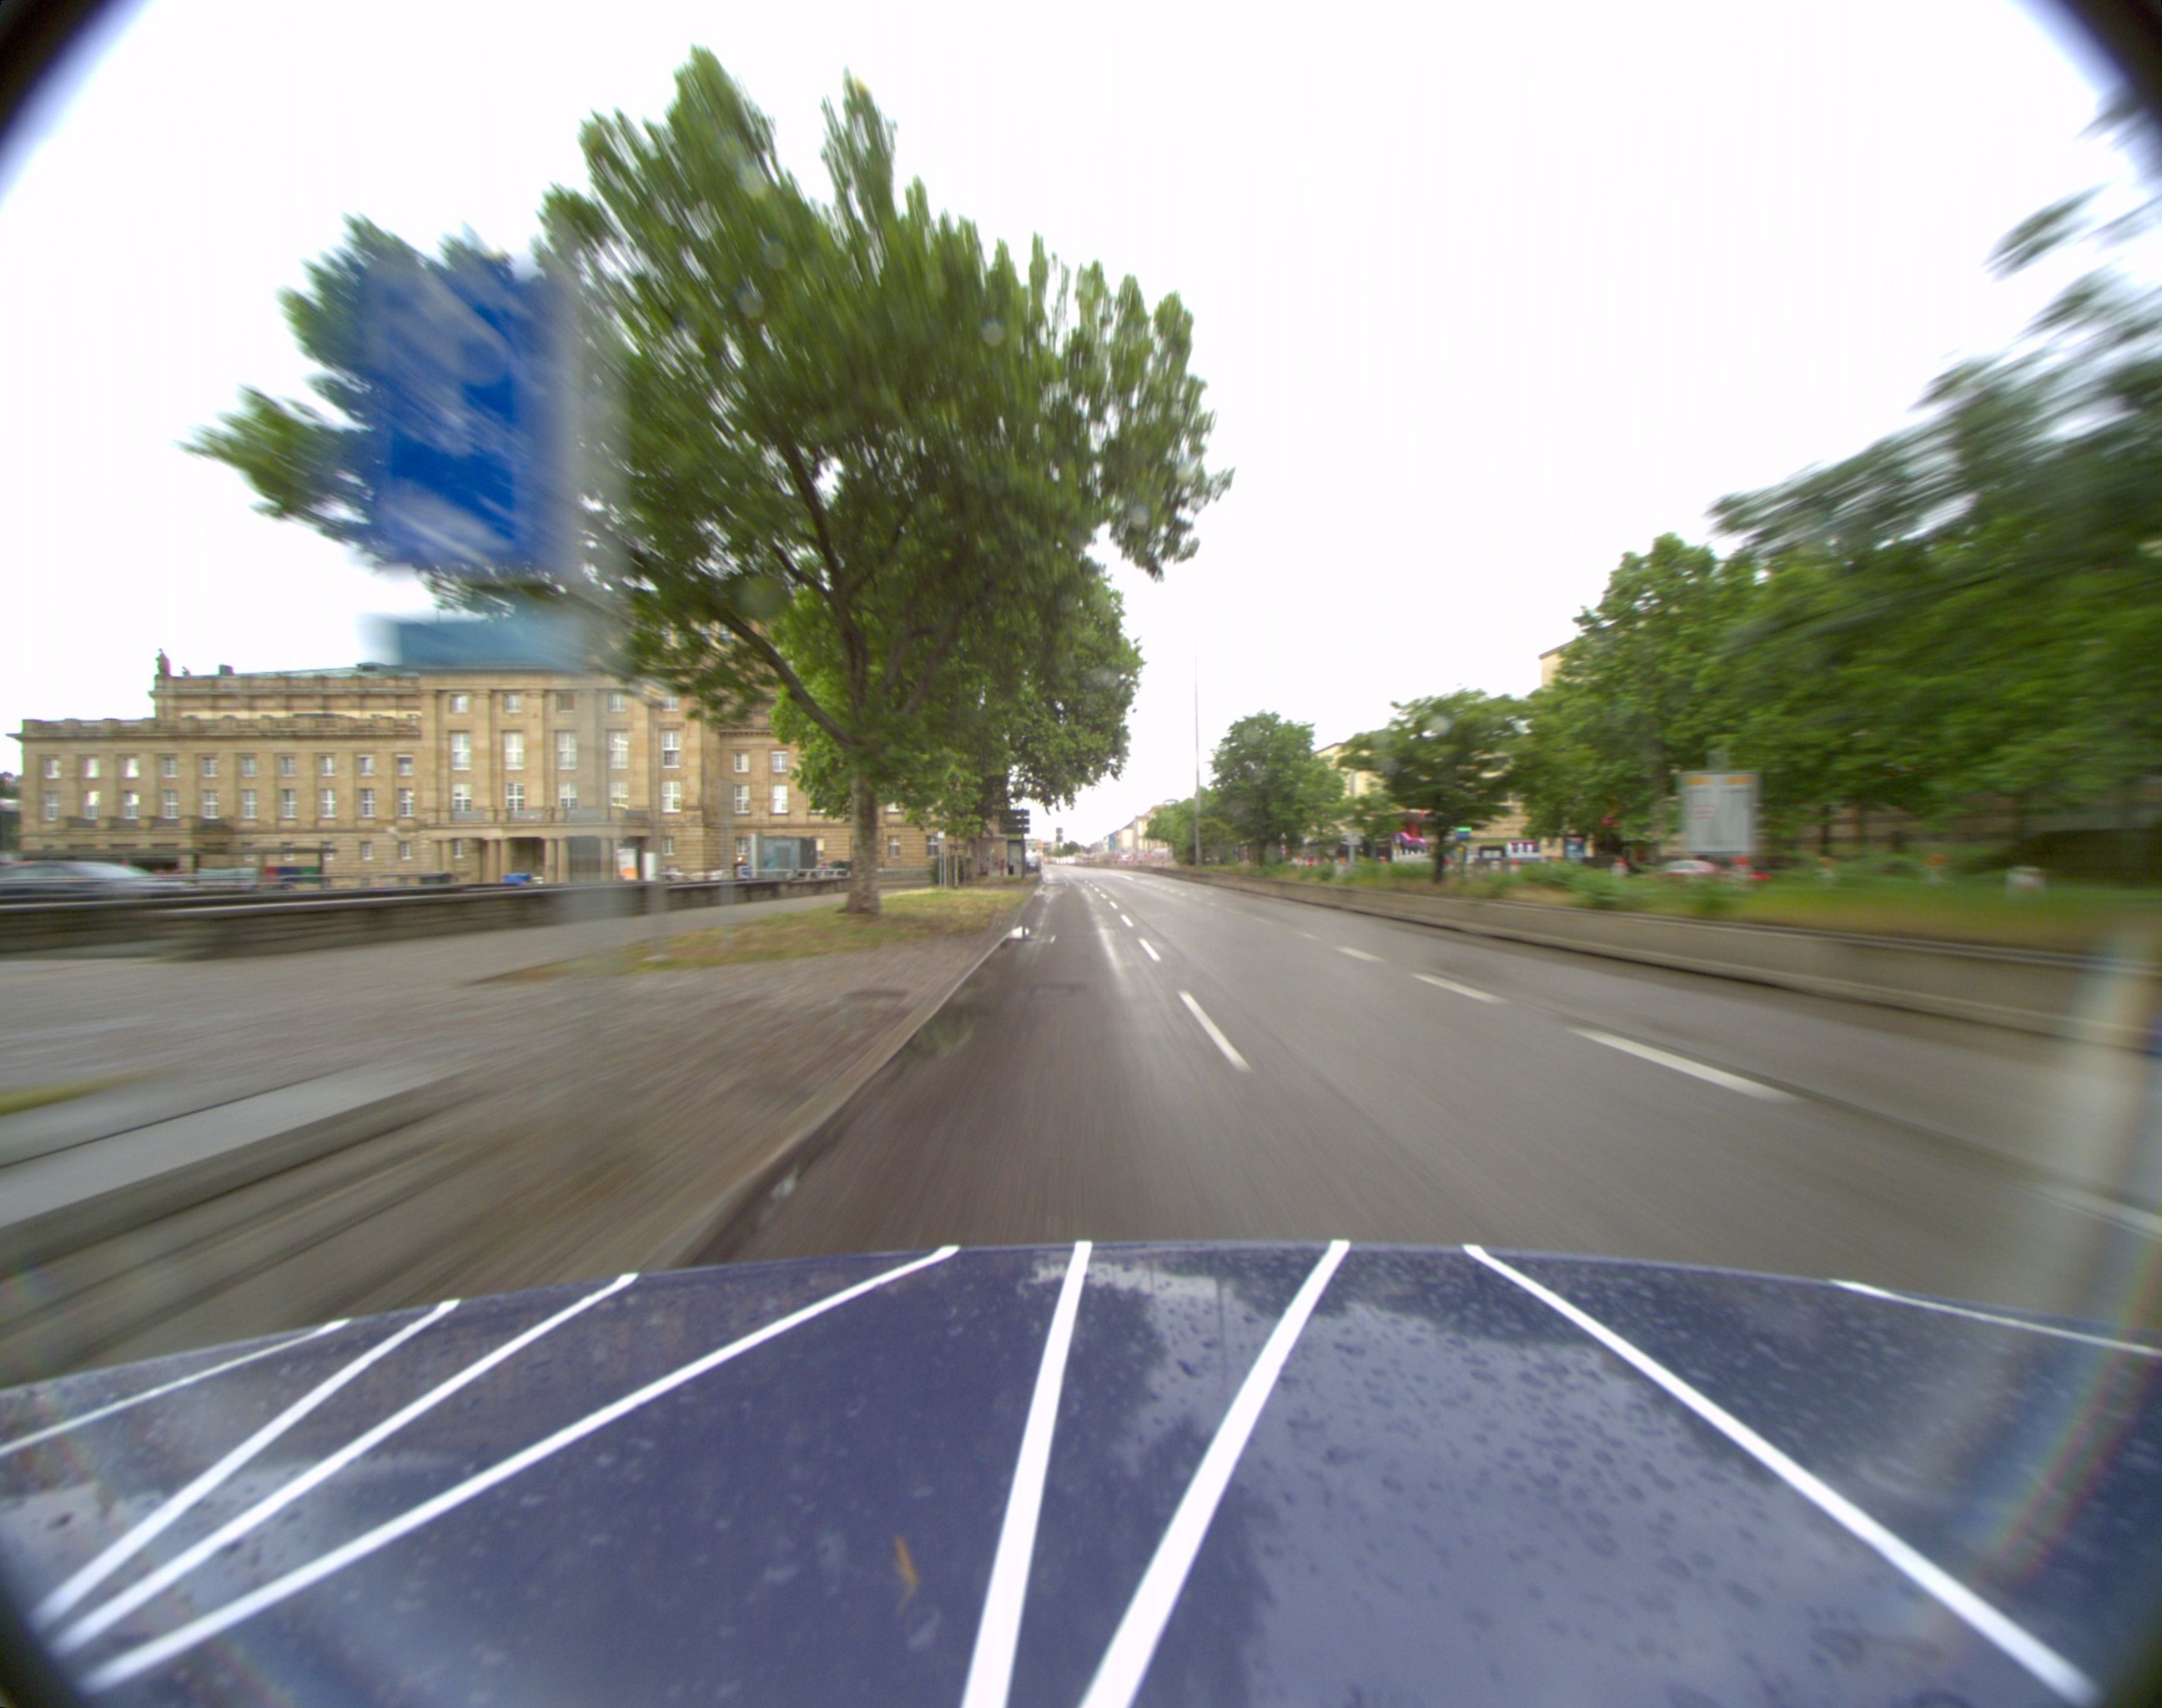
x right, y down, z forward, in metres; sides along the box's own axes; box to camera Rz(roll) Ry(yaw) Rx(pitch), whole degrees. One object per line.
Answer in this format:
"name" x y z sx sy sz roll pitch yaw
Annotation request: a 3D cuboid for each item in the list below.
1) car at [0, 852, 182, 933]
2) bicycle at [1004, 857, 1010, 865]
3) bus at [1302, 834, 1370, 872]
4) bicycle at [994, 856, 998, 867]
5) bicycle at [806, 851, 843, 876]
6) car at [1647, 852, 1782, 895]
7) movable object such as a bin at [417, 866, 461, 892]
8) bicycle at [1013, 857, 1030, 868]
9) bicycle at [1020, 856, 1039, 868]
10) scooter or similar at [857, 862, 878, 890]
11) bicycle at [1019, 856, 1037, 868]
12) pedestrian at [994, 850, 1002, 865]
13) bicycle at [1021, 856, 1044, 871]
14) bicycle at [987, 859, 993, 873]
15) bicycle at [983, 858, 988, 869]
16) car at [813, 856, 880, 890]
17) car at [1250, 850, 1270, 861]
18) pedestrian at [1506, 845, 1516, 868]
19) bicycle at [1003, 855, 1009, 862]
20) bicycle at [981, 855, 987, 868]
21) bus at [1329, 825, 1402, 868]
"car" -22.349 0.784 16.398 3.997 1.591 1.656 1 1 1
"bicycle" -9.868 0.937 101.276 0.714 1.045 1.739 -1 1 -7
"bus" 27.698 -0.132 83.654 2.811 3.789 14.597 -2 0 1
"bicycle" -9.951 0.852 88.908 0.465 1.208 1.690 -1 1 -4
"bicycle" -18.198 0.655 53.989 2.323 1.657 0.774 -2 2 -8
"car" 25.041 0.718 30.240 1.998 1.521 3.999 1 1 0
"movable object such as a bin" -37.365 1.463 44.234 1.493 1.449 1.249 1 1 1
"bicycle" -5.554 0.830 71.012 1.593 0.988 0.524 -1 1 0
"bicycle" -4.874 0.755 71.771 1.683 1.116 0.601 -1 0 0
"scooter or similar" -9.843 0.993 35.032 0.544 1.248 1.433 0 0 -33
"bicycle" -5.073 0.794 73.038 1.683 1.084 0.650 -1 1 0
"pedestrian" -10.020 0.458 91.801 0.797 1.767 0.642 2 1 -2
"bicycle" -4.594 0.885 71.903 2.196 1.329 0.650 0 1 0
"bicycle" -10.308 1.336 85.883 0.455 1.507 1.599 -3 1 -4
"bicycle" -9.715 0.979 77.487 0.353 1.074 1.788 1 1 -3
"car" -11.941 0.967 39.084 1.999 1.600 5.235 -1 -1 -3
"car" 23.633 0.177 100.495 1.596 1.492 3.212 -2 1 -5
"pedestrian" 36.882 0.195 65.220 0.479 2.002 0.512 1 2 -2
"bicycle" -10.649 0.632 107.796 0.419 1.044 1.773 -1 1 11
"bicycle" -9.996 0.750 78.350 0.455 1.244 1.599 -3 1 -4
"bus" 31.404 -0.782 84.684 3.126 4.227 13.494 -2 0 1
